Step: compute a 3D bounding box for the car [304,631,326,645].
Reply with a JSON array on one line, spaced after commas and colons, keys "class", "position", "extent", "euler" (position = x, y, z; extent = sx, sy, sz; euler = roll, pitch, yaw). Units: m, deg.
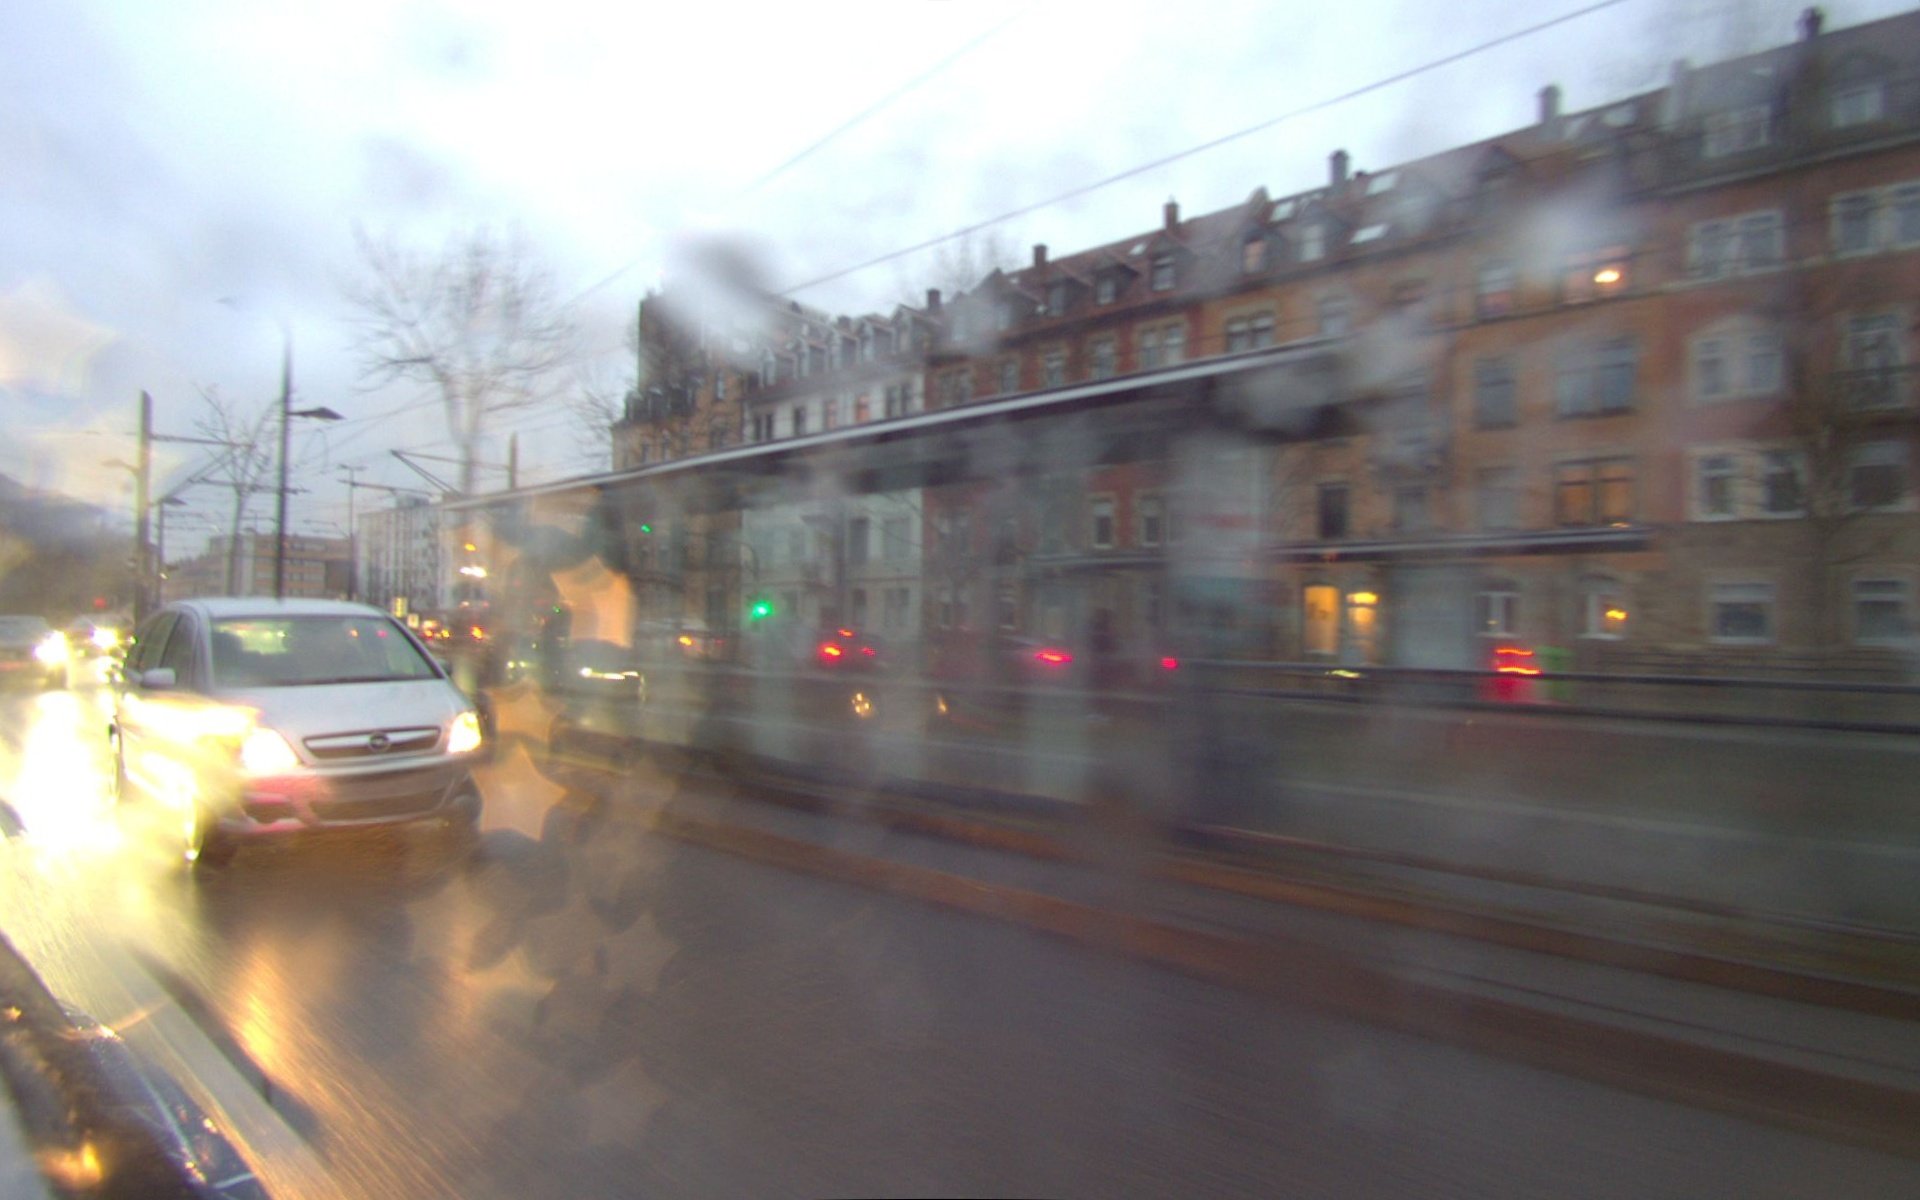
[{"class": "car", "position": [-75.426, 4.444, 118.345], "extent": [1.967, 1.657, 4.010], "euler": [3, -4, -35]}]

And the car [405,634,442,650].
[{"class": "car", "position": [-45.494, 3.561, 85.736], "extent": [1.660, 1.364, 4.392], "euler": [3, -3, -42]}]

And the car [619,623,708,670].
[{"class": "car", "position": [-13.146, 2.055, 44.788], "extent": [3.941, 1.955, 1.973], "euler": [-2, -4, 41]}]

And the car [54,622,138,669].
[{"class": "car", "position": [-34.202, 1.822, 40.177], "extent": [1.789, 1.756, 4.198], "euler": [3, -3, -31]}]

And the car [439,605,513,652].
[{"class": "car", "position": [-25.416, 1.529, 53.065], "extent": [1.969, 2.327, 5.271], "euler": [3, -4, -43]}]

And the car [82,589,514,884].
[{"class": "car", "position": [-4.975, 0.785, 7.364], "extent": [4.108, 1.560, 1.628], "euler": [-2, -3, 42]}]

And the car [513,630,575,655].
[{"class": "car", "position": [-21.907, 2.231, 53.259], "extent": [4.088, 1.236, 1.519], "euler": [-2, -4, 44]}]

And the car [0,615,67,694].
[{"class": "car", "position": [-20.195, 1.127, 21.448], "extent": [1.727, 1.556, 4.004], "euler": [4, -4, -43]}]

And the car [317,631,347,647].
[{"class": "car", "position": [-68.200, 4.249, 109.889], "extent": [1.970, 1.657, 4.004], "euler": [4, -4, -43]}]

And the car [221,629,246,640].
[{"class": "car", "position": [-92.418, 4.371, 128.738], "extent": [3.848, 1.461, 1.627], "euler": [-1, -2, 40]}]

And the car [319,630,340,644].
[{"class": "car", "position": [-77.987, 4.588, 125.194], "extent": [1.967, 1.657, 4.010], "euler": [3, -4, -35]}]
